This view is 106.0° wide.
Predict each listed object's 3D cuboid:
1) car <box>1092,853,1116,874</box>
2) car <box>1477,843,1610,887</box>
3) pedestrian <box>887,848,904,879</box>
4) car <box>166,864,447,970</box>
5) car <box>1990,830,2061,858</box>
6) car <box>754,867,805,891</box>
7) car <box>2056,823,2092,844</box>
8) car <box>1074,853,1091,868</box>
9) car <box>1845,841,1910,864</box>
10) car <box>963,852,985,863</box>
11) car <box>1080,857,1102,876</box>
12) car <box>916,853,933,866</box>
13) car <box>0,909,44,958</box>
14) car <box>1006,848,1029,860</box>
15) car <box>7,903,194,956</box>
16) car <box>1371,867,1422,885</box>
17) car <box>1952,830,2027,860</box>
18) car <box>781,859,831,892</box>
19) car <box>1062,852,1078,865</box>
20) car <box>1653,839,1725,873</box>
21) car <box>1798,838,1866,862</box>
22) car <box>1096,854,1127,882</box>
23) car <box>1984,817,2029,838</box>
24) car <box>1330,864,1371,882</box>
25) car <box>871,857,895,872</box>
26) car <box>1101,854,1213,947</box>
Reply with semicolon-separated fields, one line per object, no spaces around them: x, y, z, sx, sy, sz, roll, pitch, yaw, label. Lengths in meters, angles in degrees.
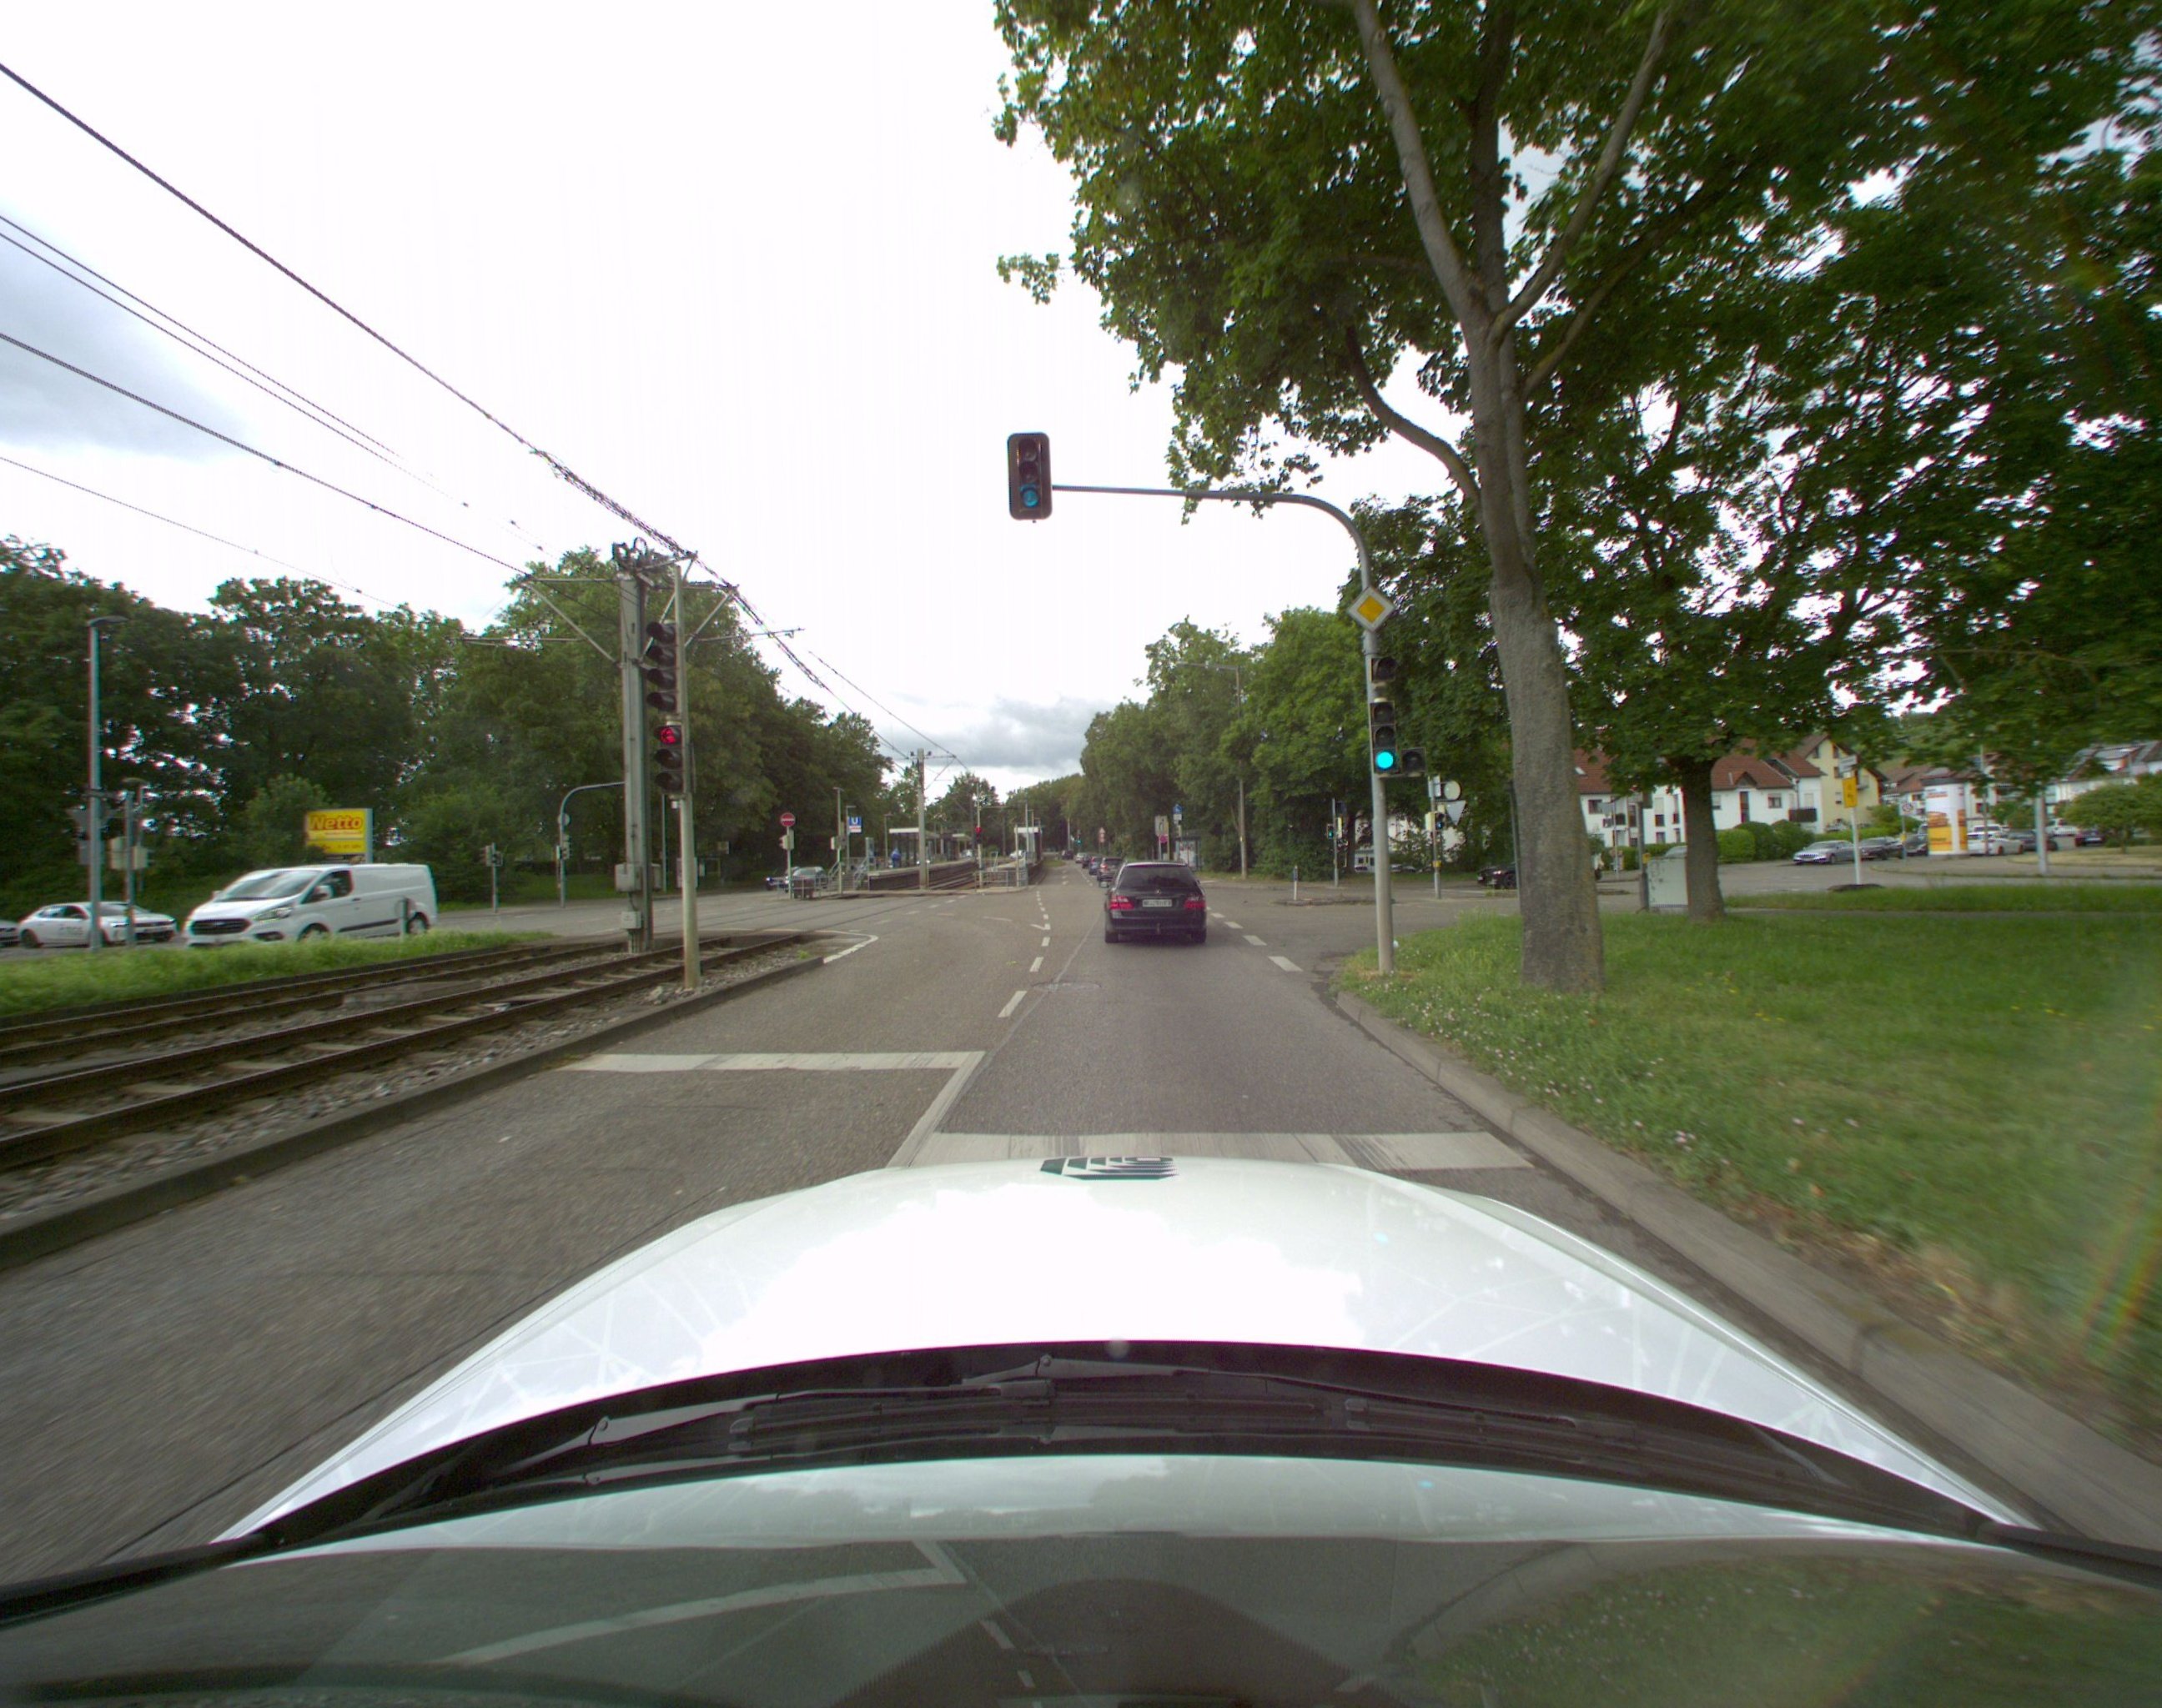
1.885;0.752;65.370;1.774;1.648;4.004;0;-1;4;car
17.991;0.445;31.839;4.131;1.526;1.707;-2;-1;6;car
-13.291;0.696;58.321;0.967;2.186;0.976;-2;0;-1;pedestrian
-17.393;1.293;18.736;1.990;2.014;4.877;-3;-1;-5;car
54.606;-0.581;47.081;4.013;1.517;1.980;-1;0;-31;car
-20.855;1.717;56.515;1.989;1.482;4.501;-4;-1;-3;car
109.901;-2.288;90.188;4.492;2.237;2.386;-2;0;-40;car
0.209;0.894;105.040;1.989;1.893;3.996;0;-1;-3;car
52.631;-0.048;53.800;4.482;1.426;1.981;1;-1;-31;car
-19.565;0.623;148.749;2.011;2.014;3.951;1;-1;-43;car
1.010;1.296;84.067;1.989;1.918;3.996;0;-1;-3;car
-22.003;0.814;114.634;1.706;1.751;4.396;-3;-1;-2;car
-37.596;2.731;26.986;3.976;1.552;1.846;-2;-1;-2;car
-10.892;-0.047;139.841;2.011;2.014;3.951;1;-1;-43;car
-31.847;2.427;26.545;3.864;1.408;1.847;-2;-1;1;car
22.828;1.575;59.094;1.623;1.246;3.841;1;-1;-12;car
49.729;-0.510;44.567;4.013;1.517;1.980;-1;0;-31;car
-16.259;1.257;48.374;1.693;1.860;3.996;0;-1;-2;car
-1.685;0.708;124.256;1.991;1.966;3.992;0;-1;-6;car
32.892;0.138;44.036;4.017;1.766;1.978;1;-1;-36;car
46.636;-0.211;50.580;4.484;1.426;1.980;1;-1;-32;car
1.934;0.866;50.439;1.774;1.648;4.004;0;-1;4;car
80.778;-2.303;71.072;4.486;1.753;1.979;-2;0;-34;car
21.543;1.496;65.218;1.479;1.386;3.824;1;-1;-12;car
-21.765;1.157;89.554;1.682;1.446;3.996;-4;-1;-3;car
1.302;0.777;15.462;1.776;1.525;4.000;0;0;0;car
